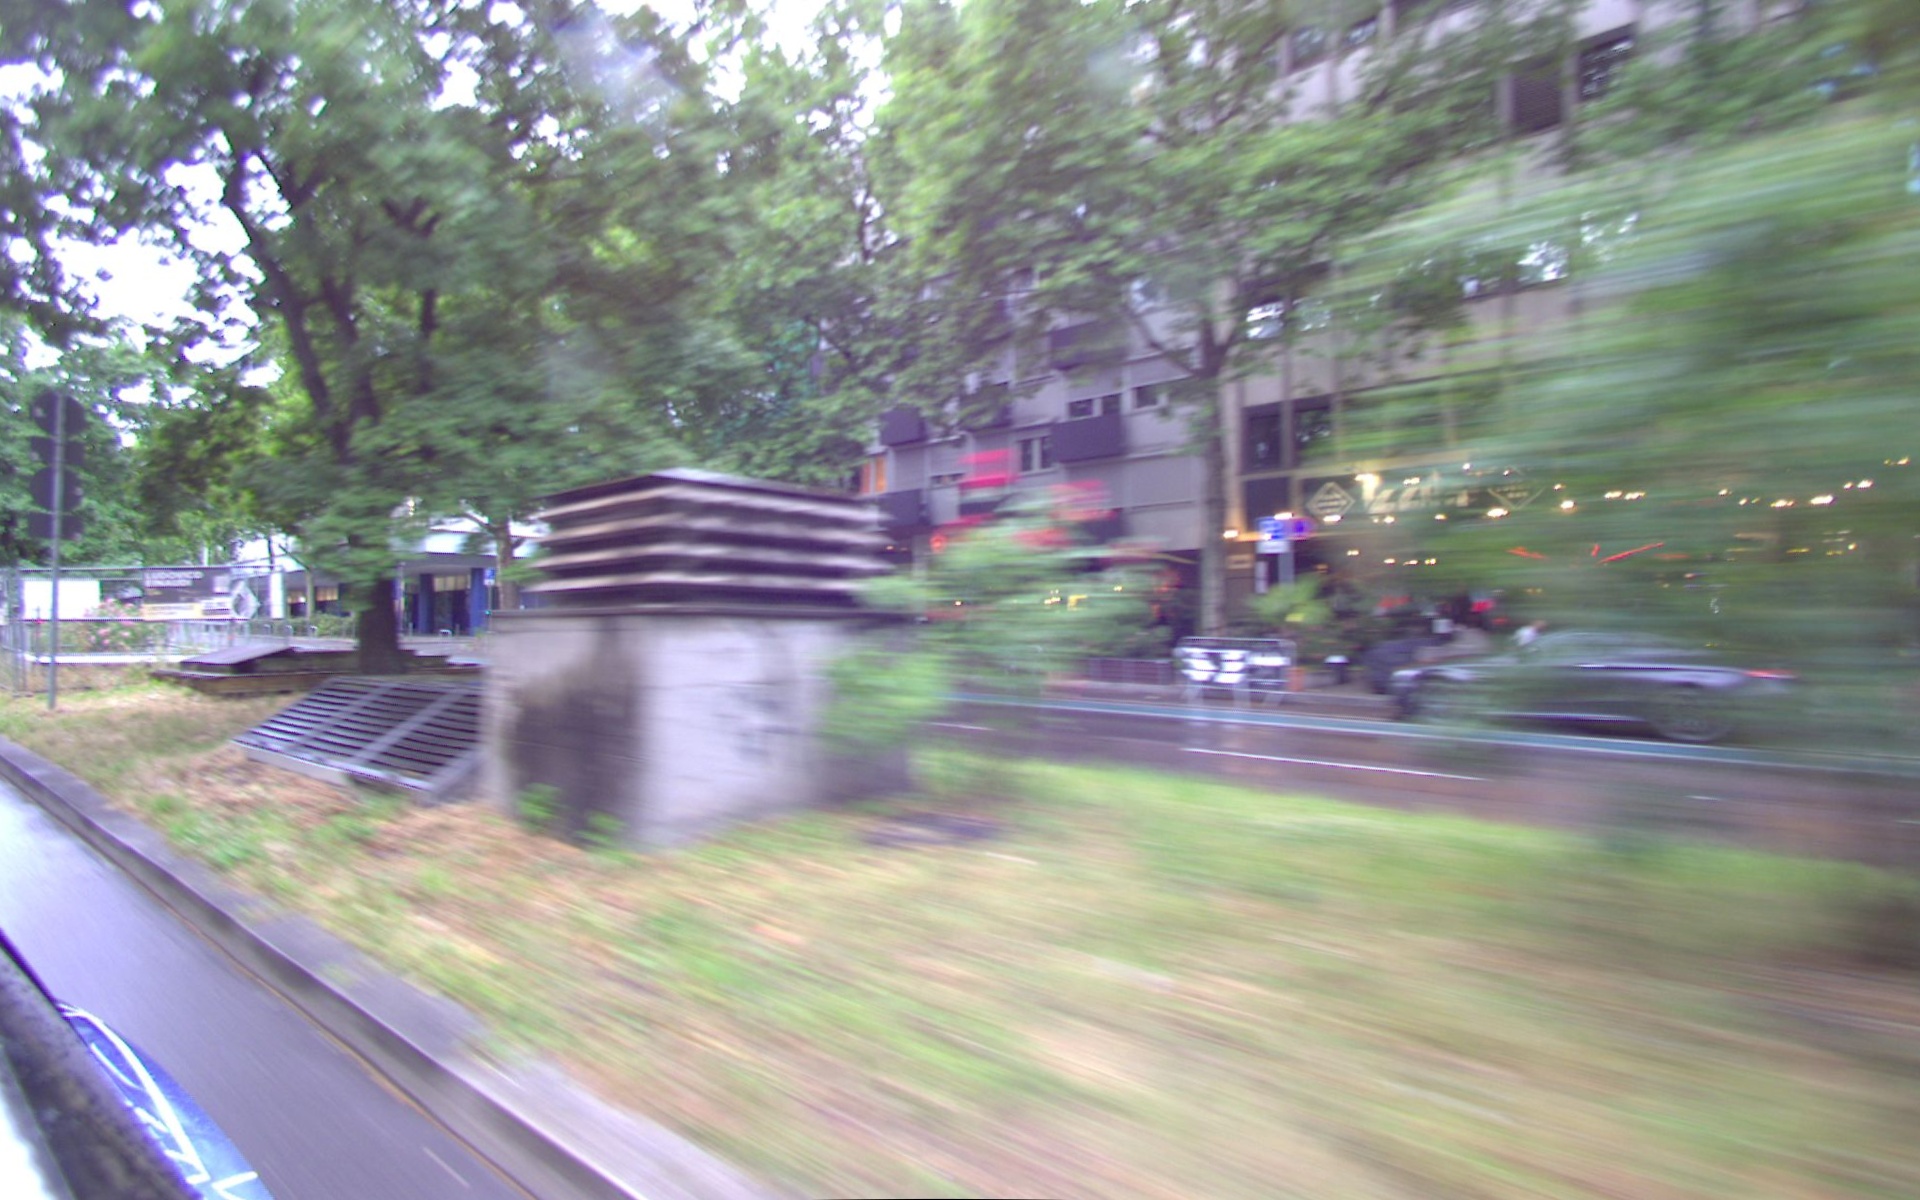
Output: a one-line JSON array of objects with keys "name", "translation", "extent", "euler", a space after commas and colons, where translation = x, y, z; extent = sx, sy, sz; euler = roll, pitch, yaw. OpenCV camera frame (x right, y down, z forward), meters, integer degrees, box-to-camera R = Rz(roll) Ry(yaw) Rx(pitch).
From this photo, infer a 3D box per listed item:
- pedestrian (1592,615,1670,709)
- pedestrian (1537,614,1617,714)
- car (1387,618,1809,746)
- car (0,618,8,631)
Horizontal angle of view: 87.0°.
[{"name": "pedestrian", "translation": [10.338, 0.935, 15.592], "extent": [0.932, 1.390, 0.756], "euler": [-1, -1, 38]}, {"name": "pedestrian", "translation": [9.712, 0.979, 15.928], "extent": [0.972, 1.499, 0.821], "euler": [-1, -1, 38]}, {"name": "car", "translation": [8.246, 0.951, 13.344], "extent": [4.481, 1.405, 1.806], "euler": [-1, -1, 41]}, {"name": "car", "translation": [-107.156, 2.732, 112.835], "extent": [3.560, 1.473, 1.148], "euler": [-1, -2, 43]}]
